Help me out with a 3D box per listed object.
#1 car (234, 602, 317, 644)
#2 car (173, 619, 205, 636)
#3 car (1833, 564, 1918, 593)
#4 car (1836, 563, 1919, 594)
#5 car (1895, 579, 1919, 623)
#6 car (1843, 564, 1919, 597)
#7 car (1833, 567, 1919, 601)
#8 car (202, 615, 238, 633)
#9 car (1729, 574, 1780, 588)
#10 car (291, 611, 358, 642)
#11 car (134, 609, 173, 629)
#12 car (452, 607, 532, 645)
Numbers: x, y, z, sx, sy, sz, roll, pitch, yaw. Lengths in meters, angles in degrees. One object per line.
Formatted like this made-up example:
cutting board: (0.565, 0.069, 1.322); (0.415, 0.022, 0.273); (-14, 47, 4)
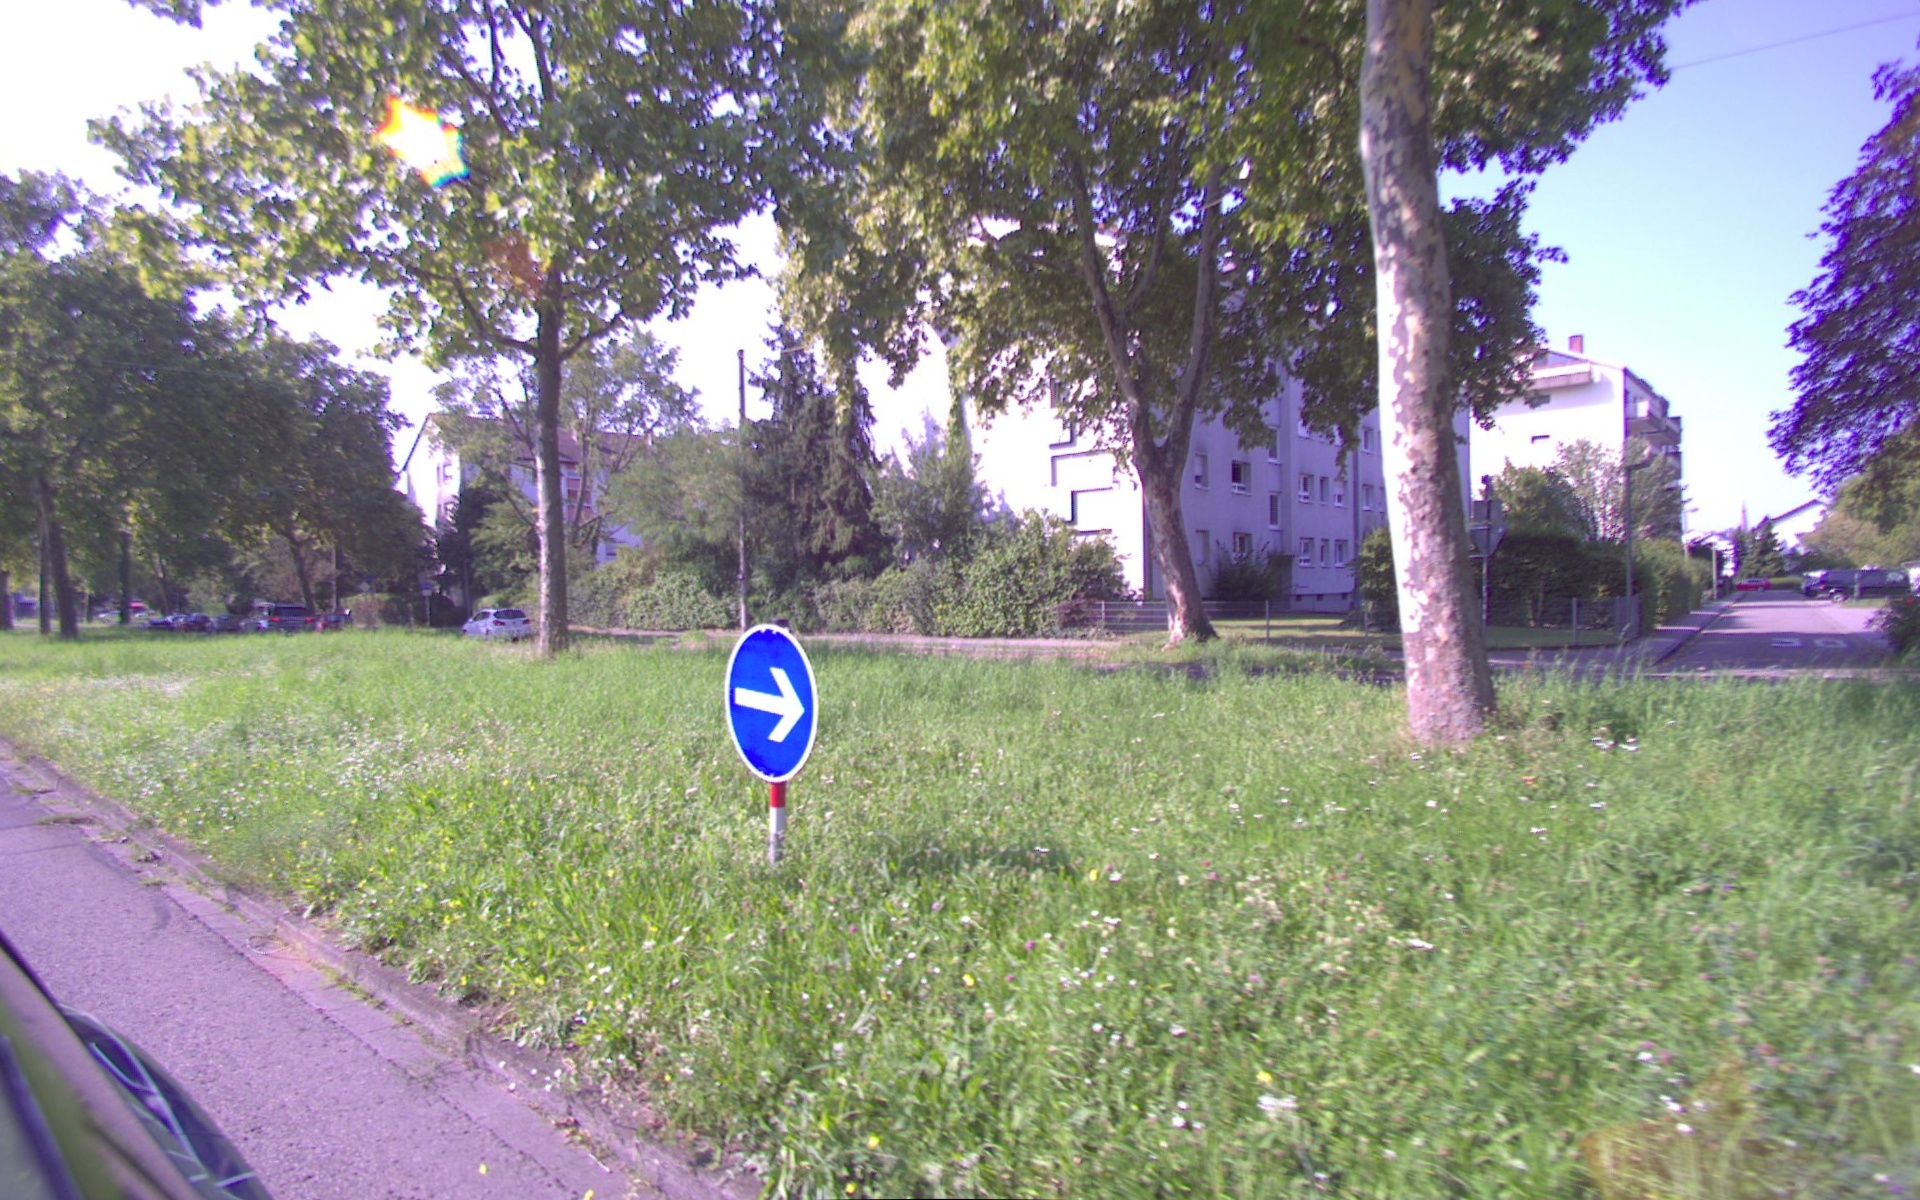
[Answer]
car: (-28.863, 0.955, 42.615); (4.855, 1.628, 1.756); (-1, 1, 42)
car: (-64.248, 2.243, 84.328); (3.523, 1.301, 1.591); (-1, 1, 44)
car: (62.509, -1.474, 69.168); (4.235, 1.831, 1.678); (-1, 0, 41)
car: (59.139, -1.362, 65.073); (4.235, 1.831, 1.678); (-1, 0, 41)
car: (34.378, -0.007, 34.260); (3.924, 1.477, 1.678); (-1, 0, 41)
car: (56.964, -1.196, 61.993); (4.235, 1.831, 1.678); (-2, 0, 41)
car: (52.643, -0.923, 57.757); (4.235, 1.831, 1.678); (-1, 0, 41)
car: (-55.737, 1.798, 76.225); (3.523, 1.301, 1.591); (-1, 1, 44)
car: (90.261, -2.130, 114.985); (4.417, 1.455, 1.973); (-1, 1, 40)
car: (-30.963, 1.302, 49.254); (3.895, 1.374, 1.629); (-2, 0, 40)
car: (-61.562, 1.435, 77.225); (3.897, 1.490, 1.628); (-1, 1, 42)
car: (-19.837, 1.086, 42.868); (3.897, 1.490, 1.628); (-1, 1, 42)
